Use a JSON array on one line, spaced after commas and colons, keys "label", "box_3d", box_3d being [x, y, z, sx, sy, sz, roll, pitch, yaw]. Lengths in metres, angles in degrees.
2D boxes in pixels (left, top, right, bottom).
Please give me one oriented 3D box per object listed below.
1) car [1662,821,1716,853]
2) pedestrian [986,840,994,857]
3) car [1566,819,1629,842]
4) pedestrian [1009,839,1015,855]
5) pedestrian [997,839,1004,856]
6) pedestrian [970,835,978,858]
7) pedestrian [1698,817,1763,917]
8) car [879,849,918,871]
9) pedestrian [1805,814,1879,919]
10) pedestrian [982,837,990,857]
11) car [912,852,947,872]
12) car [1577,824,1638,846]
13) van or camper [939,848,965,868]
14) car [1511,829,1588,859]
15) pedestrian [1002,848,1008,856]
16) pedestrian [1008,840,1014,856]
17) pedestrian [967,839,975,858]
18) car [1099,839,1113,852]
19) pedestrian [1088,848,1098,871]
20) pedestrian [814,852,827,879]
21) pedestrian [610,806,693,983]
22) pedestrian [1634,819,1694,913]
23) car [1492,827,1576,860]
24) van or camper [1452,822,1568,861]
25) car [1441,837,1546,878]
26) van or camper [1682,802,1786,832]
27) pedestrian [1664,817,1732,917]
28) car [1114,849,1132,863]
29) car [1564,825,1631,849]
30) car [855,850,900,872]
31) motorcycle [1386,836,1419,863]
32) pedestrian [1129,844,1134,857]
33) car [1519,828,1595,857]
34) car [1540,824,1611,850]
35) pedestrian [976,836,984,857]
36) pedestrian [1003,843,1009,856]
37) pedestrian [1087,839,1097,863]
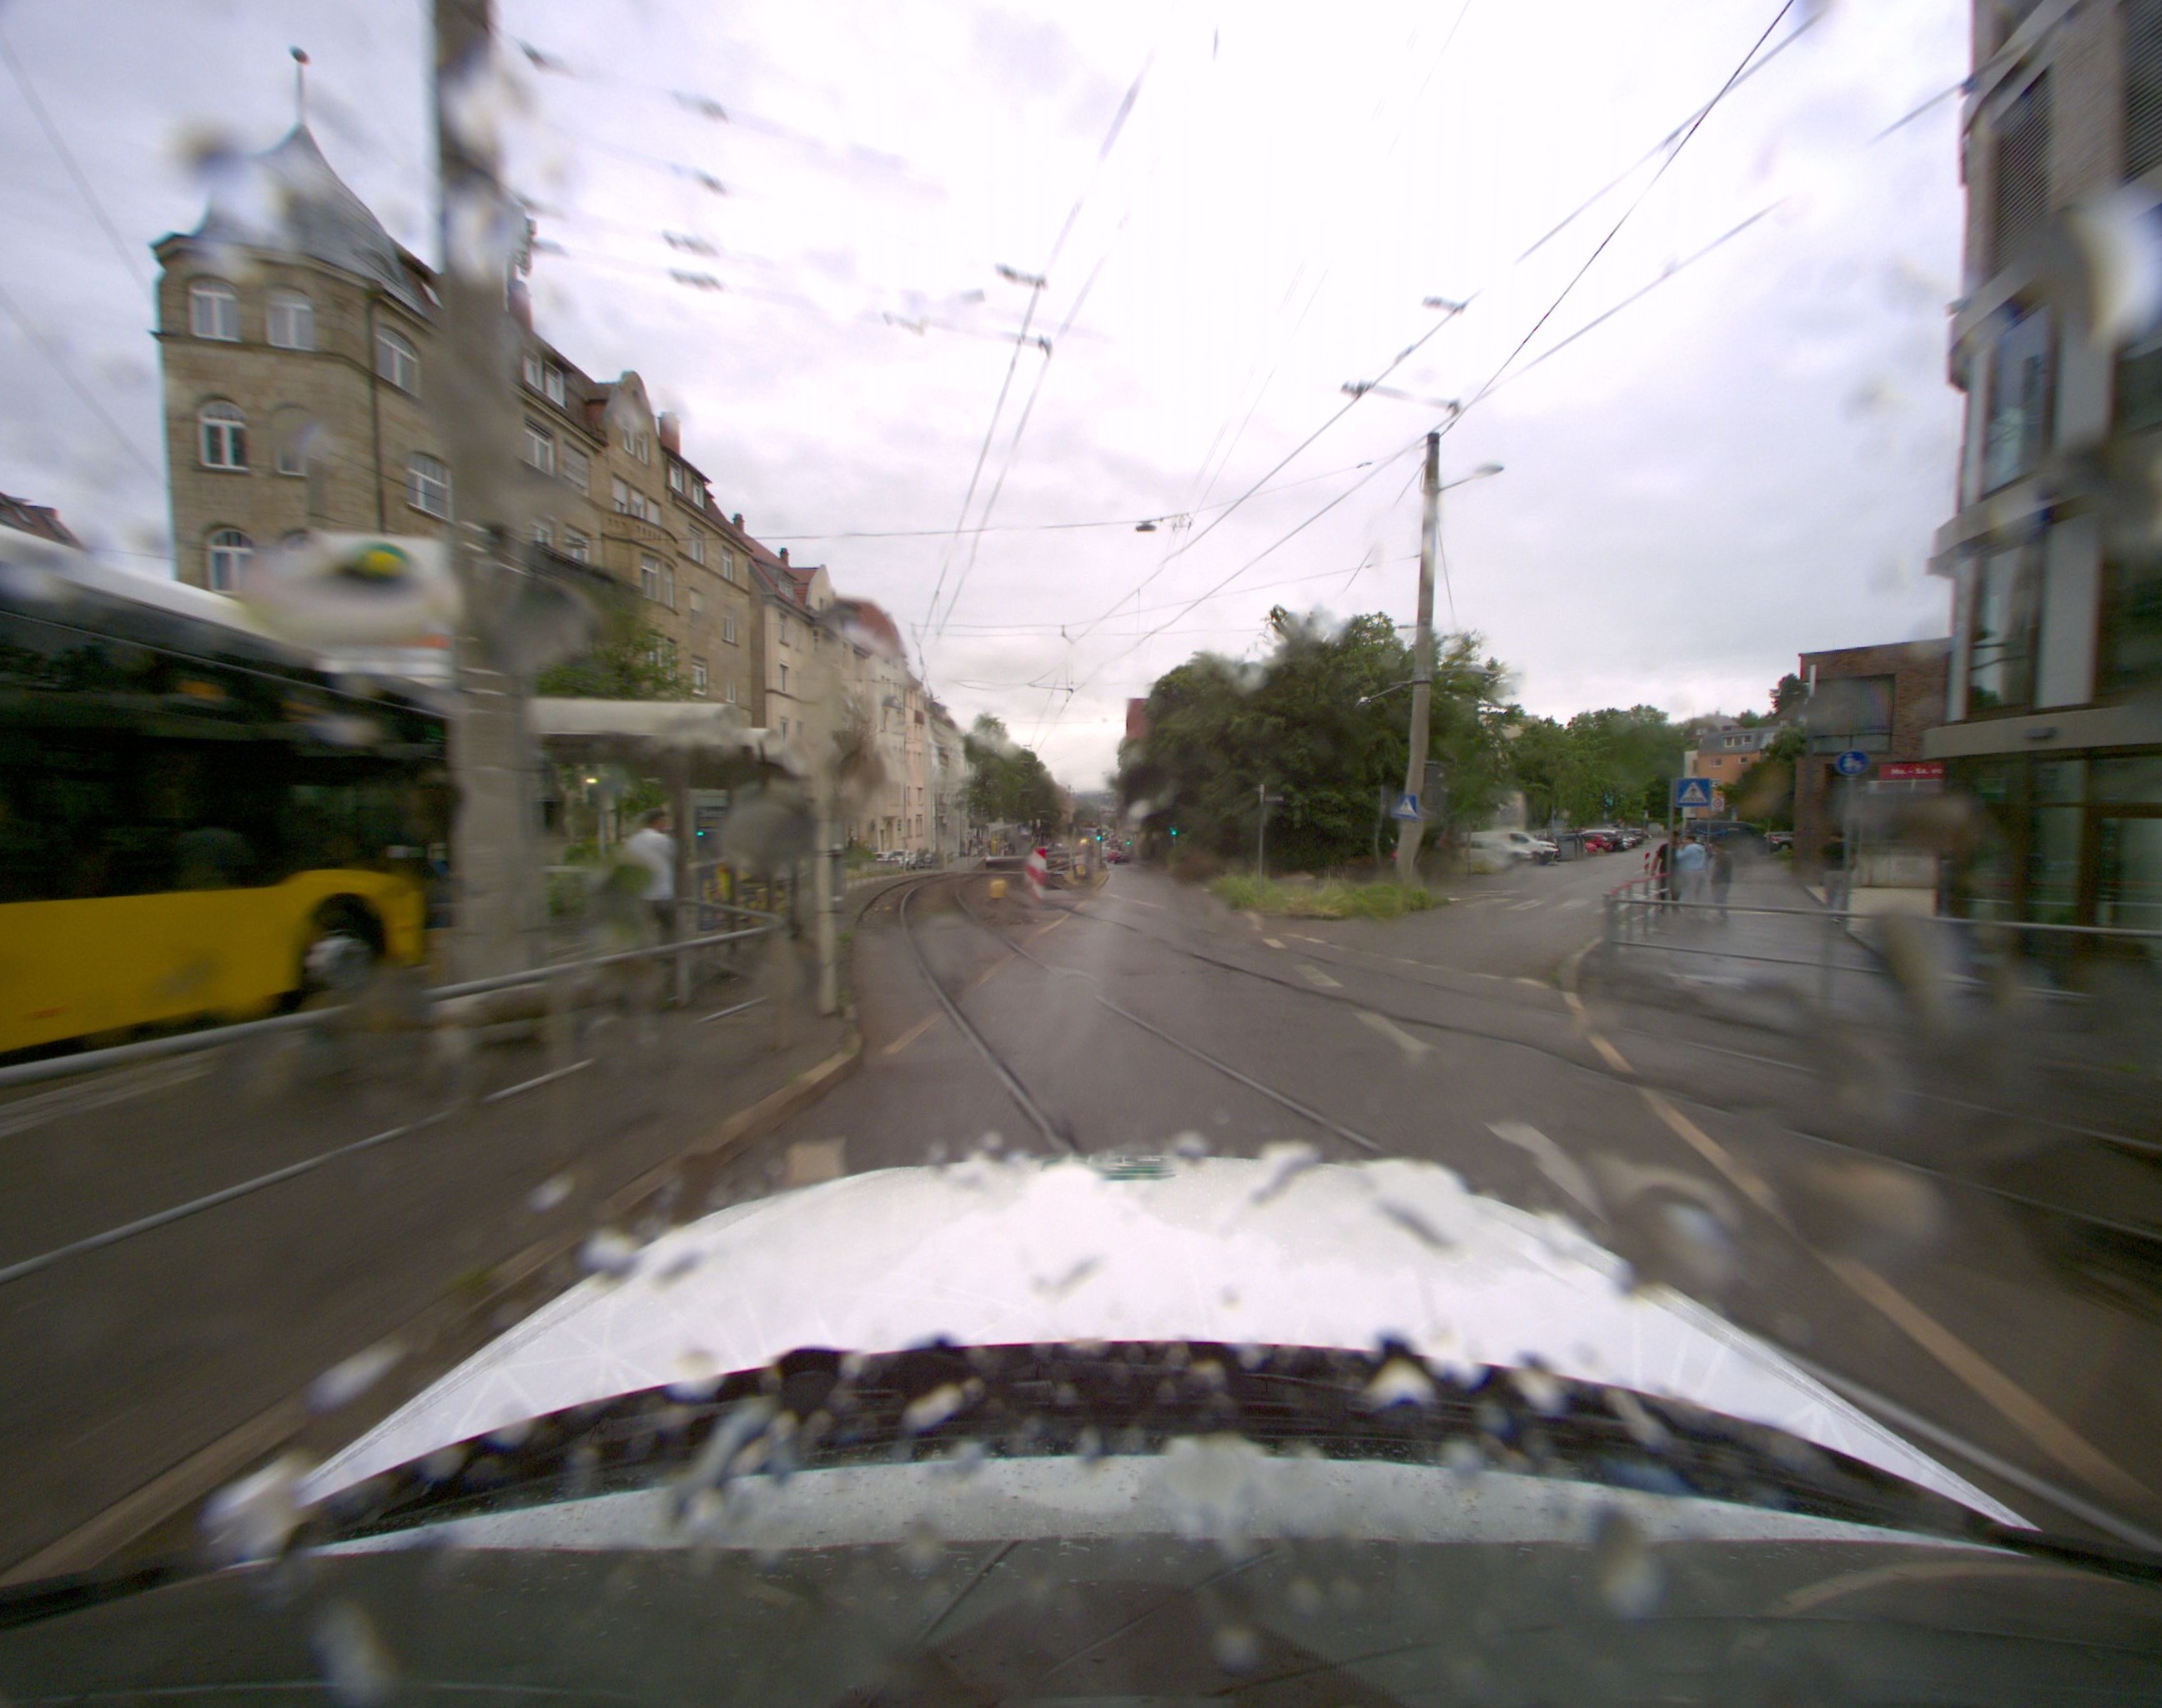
[{"label": "car", "box_3d": [40.243, -1.145, 54.014, 1.975, 2.013, 4.023, -2, 1, 24]}, {"label": "pedestrian", "box_3d": [-8.775, -0.529, 78.337, 0.592, 1.666, 0.762, -3, 0, 1]}, {"label": "car", "box_3d": [40.883, -1.846, 64.509, 3.950, 1.771, 1.858, 0, 2, 43]}, {"label": "pedestrian", "box_3d": [-7.499, -0.736, 88.532, 0.548, 1.741, 0.614, -3, 0, 1]}, {"label": "pedestrian", "box_3d": [-8.080, -0.618, 81.754, 0.592, 1.666, 0.762, -3, 0, 1]}, {"label": "pedestrian", "box_3d": [-8.851, -0.605, 67.381, 0.559, 1.850, 0.599, -3, 0, 1]}, {"label": "pedestrian", "box_3d": [13.662, 0.260, 17.142, 0.590, 2.013, 0.891, -2, 0, -3]}, {"label": "car", "box_3d": [-14.841, 0.437, 66.505, 1.915, 1.622, 4.539, -2, 0, 3]}, {"label": "pedestrian", "box_3d": [15.221, 0.243, 16.308, 0.590, 2.013, 0.891, -3, 1, -3]}, {"label": "pedestrian", "box_3d": [-8.863, -0.617, 75.801, 0.514, 1.838, 0.762, -3, 0, 1]}, {"label": "car", "box_3d": [-13.975, 0.747, 75.490, 1.984, 1.732, 4.819, -2, -1, 4]}, {"label": "car", "box_3d": [43.244, -1.574, 66.896, 3.950, 1.771, 1.858, 0, 2, 43]}, {"label": "van or camper", "box_3d": [-13.839, 0.414, 87.762, 1.986, 2.013, 4.001, -2, 1, 1]}, {"label": "car", "box_3d": [29.396, -0.630, 51.132, 3.855, 1.684, 1.749, -3, 0, 43]}, {"label": "pedestrian", "box_3d": [-8.055, -0.231, 86.387, 0.548, 0.872, 0.614, -3, 0, 1]}, {"label": "pedestrian", "box_3d": [-7.891, -0.709, 92.016, 0.480, 1.741, 0.563, -3, 0, 1]}, {"label": "pedestrian", "box_3d": [-9.187, -0.467, 67.962, 0.514, 1.605, 0.563, -3, 0, 1]}, {"label": "car", "box_3d": [3.719, -1.245, 119.833, 1.942, 1.793, 4.143, 0, 0, 0]}, {"label": "pedestrian", "box_3d": [0.834, 0.395, 55.551, 0.648, 1.562, 0.684, -1, 0, 2]}, {"label": "pedestrian", "box_3d": [-15.424, 0.670, 48.149, 0.518, 1.532, 0.621, -1, 0, 3]}, {"label": "pedestrian", "box_3d": [-4.402, 0.401, 8.380, 0.576, 1.752, 0.541, 1, -1, -10]}, {"label": "pedestrian", "box_3d": [12.937, 0.246, 18.082, 0.682, 2.013, 0.783, -2, 0, -11]}, {"label": "car", "box_3d": [26.054, -0.601, 46.860, 3.855, 1.684, 1.749, -3, 0, 43]}, {"label": "van or camper", "box_3d": [23.112, -0.647, 44.029, 2.012, 1.834, 5.117, -2, 0, -44]}, {"label": "car", "box_3d": [21.236, 0.150, 42.006, 4.451, 2.013, 2.012, 0, 0, 40]}, {"label": "van or camper", "box_3d": [49.784, -2.791, 62.230, 5.878, 2.013, 2.010, -2, 1, 18]}, {"label": "pedestrian", "box_3d": [12.938, 0.261, 17.098, 0.655, 2.013, 0.888, -2, 1, -11]}, {"label": "car", "box_3d": [4.894, 0.209, 94.872, 1.845, 1.473, 4.000, -1, 1, 0]}, {"label": "car", "box_3d": [38.395, -1.263, 60.589, 3.950, 1.771, 1.858, 0, 2, 43]}, {"label": "car", "box_3d": [-15.150, 0.547, 60.877, 1.986, 1.533, 4.535, 1, -1, 2]}, {"label": "motorcycle", "box_3d": [17.113, -0.242, 43.335, 0.815, 1.375, 2.445, 5, 3, 40]}, {"label": "pedestrian", "box_3d": [7.021, -0.514, 113.422, 0.552, 1.813, 0.650, -1, 0, -1]}, {"label": "car", "box_3d": [30.828, -0.747, 52.764, 3.950, 1.771, 1.858, 0, 2, 43]}, {"label": "car", "box_3d": [34.687, -1.180, 57.130, 3.950, 1.771, 1.858, 0, 2, 43]}, {"label": "pedestrian", "box_3d": [-8.930, -0.623, 72.261, 0.514, 1.838, 0.762, -3, 0, 1]}, {"label": "pedestrian", "box_3d": [-8.007, -0.502, 87.287, 0.548, 1.413, 0.614, -3, 0, 1]}, {"label": "pedestrian", "box_3d": [0.797, -0.225, 59.841, 0.648, 1.784, 0.848, -1, 0, 2]}]
